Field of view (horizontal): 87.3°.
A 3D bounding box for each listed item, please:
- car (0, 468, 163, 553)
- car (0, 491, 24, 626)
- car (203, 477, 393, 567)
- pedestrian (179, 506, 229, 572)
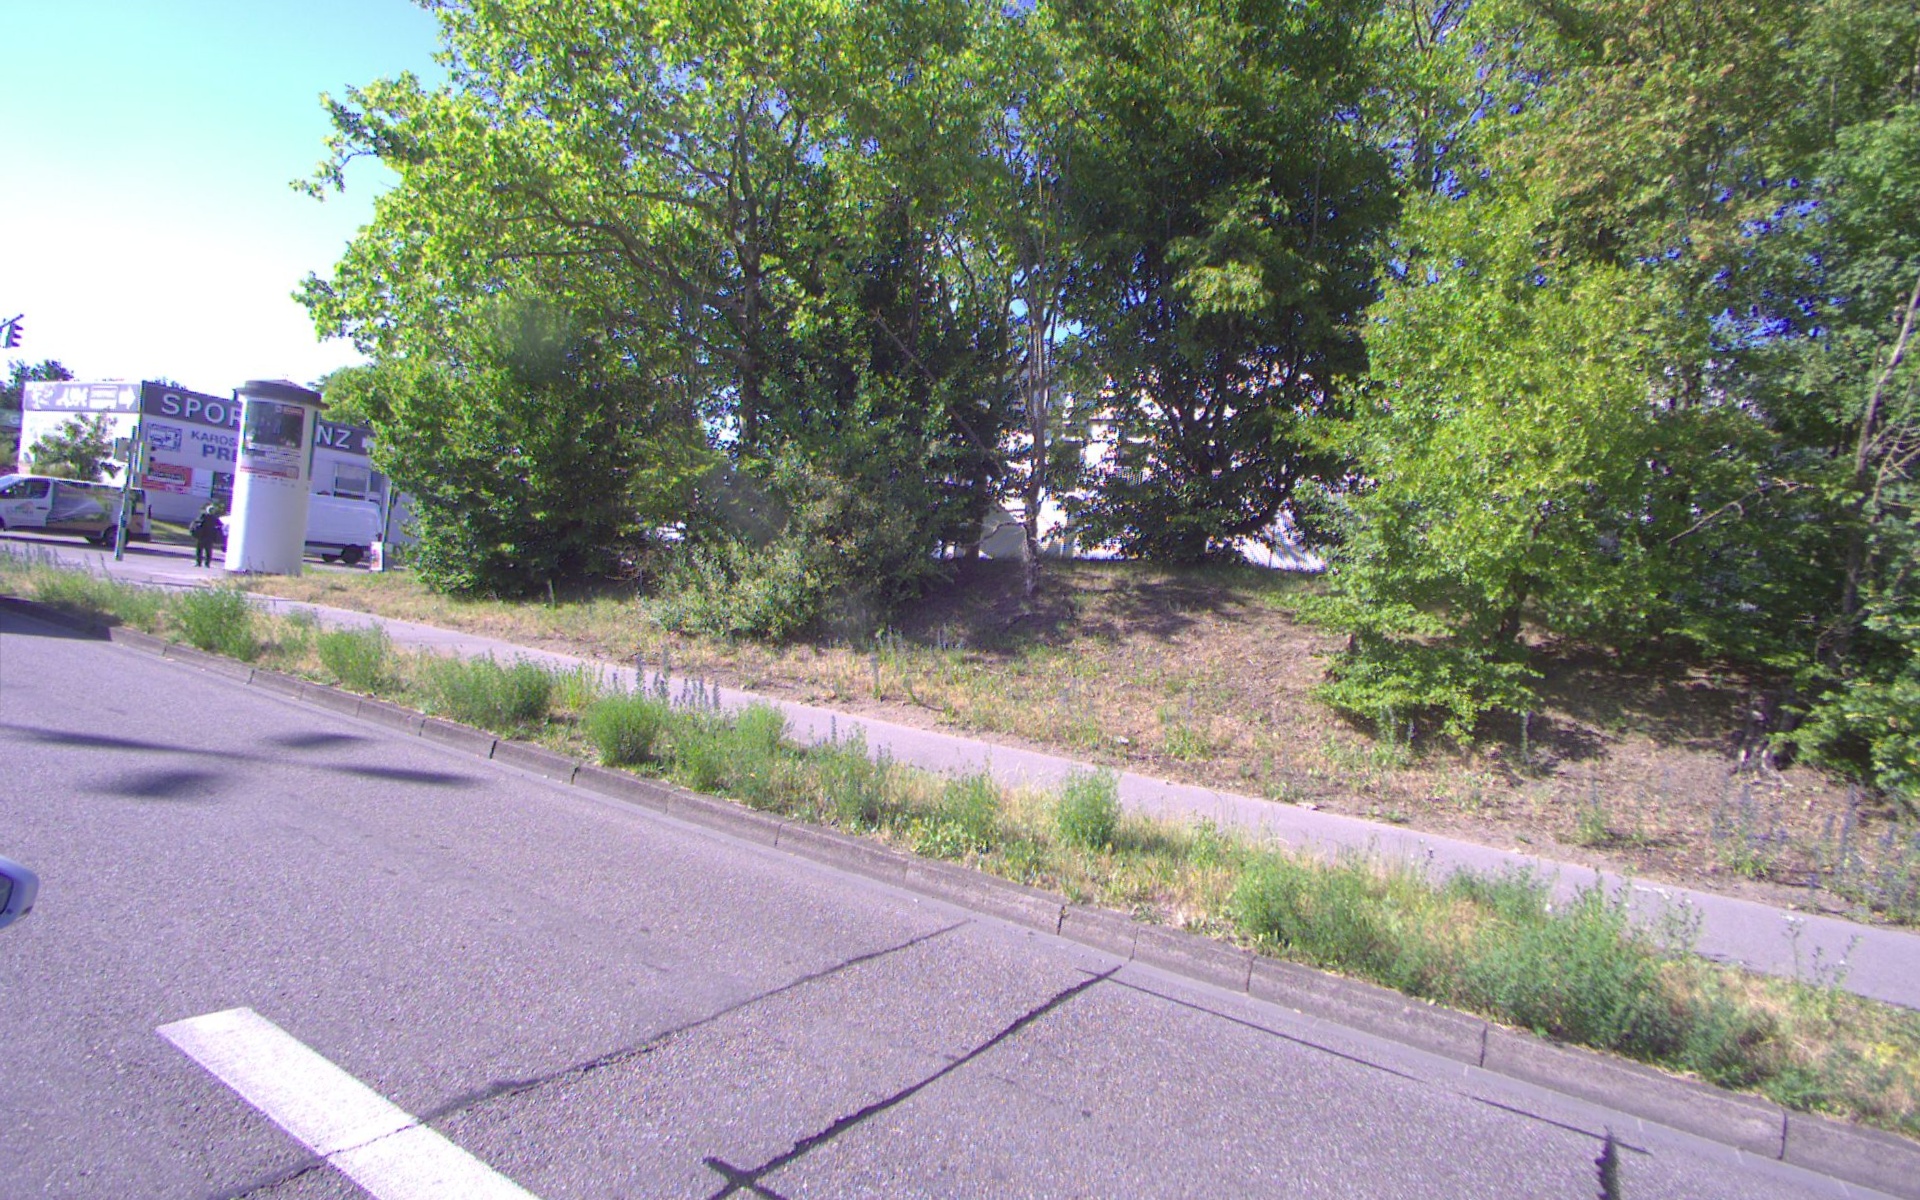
[{"bbox_3d":[-28.004,-2.800,30.989,1.849,2.060,4.962,7,-1,30],"label":"car"},{"bbox_3d":[-13.251,-0.766,12.099,4.039,1.555,1.787,7,-2,32],"label":"car"},{"bbox_3d":[-26.060,-3.016,39.882,1.967,2.706,5.840,6,0,32],"label":"car"},{"bbox_3d":[-21.006,-1.692,27.969,0.506,1.688,0.818,6,-1,31],"label":"pedestrian"}]
